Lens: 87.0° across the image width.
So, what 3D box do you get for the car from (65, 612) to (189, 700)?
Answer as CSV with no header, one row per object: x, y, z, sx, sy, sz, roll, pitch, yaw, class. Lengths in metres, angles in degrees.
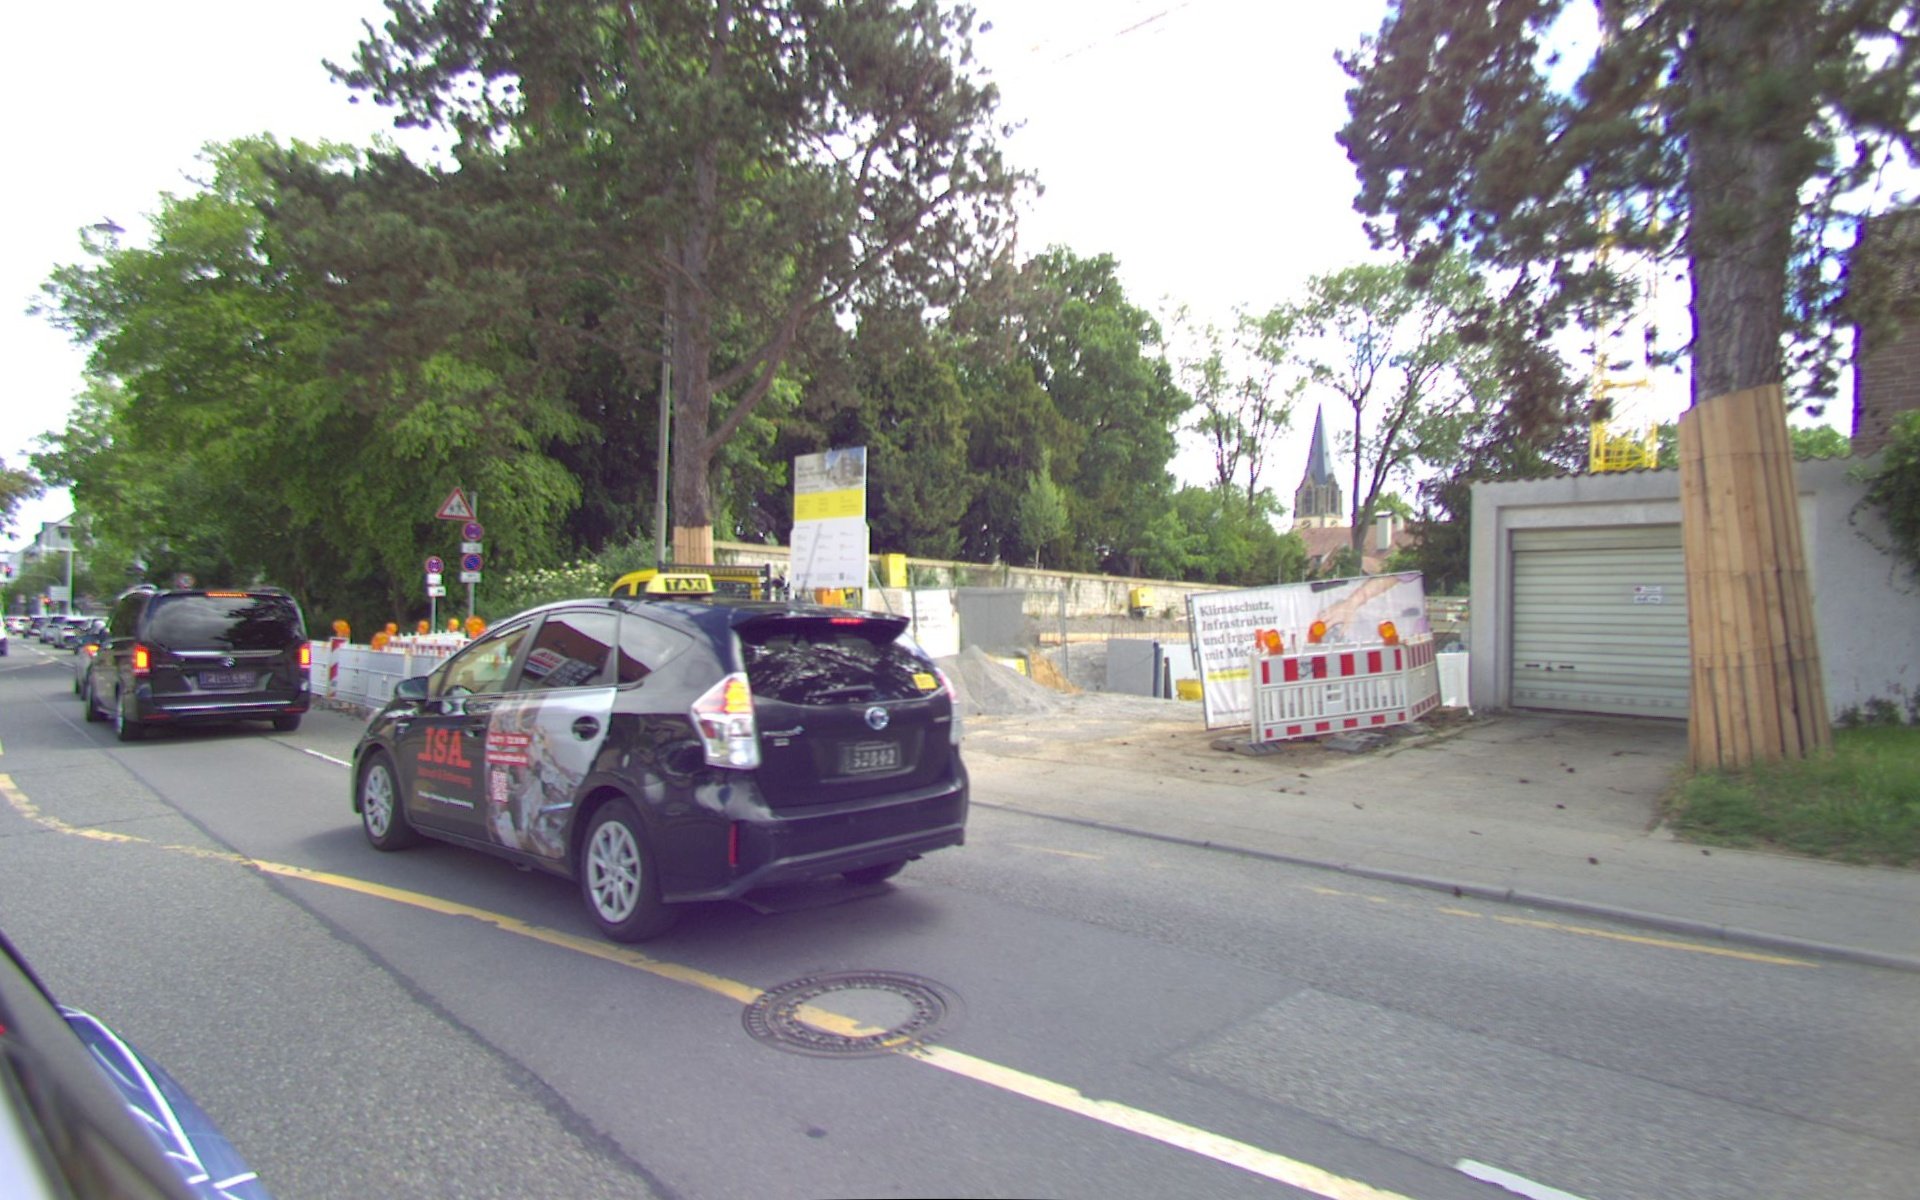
-16.216,1.067,19.651,1.595,1.535,3.573,2,-3,-43,car

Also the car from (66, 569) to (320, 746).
-10.496,0.717,13.697,4.913,1.967,1.888,-2,-3,43,car

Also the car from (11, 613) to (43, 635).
-75.476,1.940,81.888,4.164,1.603,1.596,0,-3,44,car

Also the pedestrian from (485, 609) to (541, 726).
-6.278,0.937,14.230,0.563,1.613,0.537,0,0,-1,pedestrian

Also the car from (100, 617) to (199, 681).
-21.449,1.220,26.916,1.795,1.535,4.571,1,-1,-36,car

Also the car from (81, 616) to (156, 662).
-32.131,1.469,38.619,3.971,1.603,1.737,0,-2,44,car

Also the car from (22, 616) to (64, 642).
-62.965,1.968,69.471,4.164,1.603,1.737,0,-3,44,car

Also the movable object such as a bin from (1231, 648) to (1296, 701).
11.292,2.743,37.664,1.654,1.796,1.972,0,0,42,movable object such as a bin

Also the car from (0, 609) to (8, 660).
-37.341,1.273,38.146,4.431,1.820,1.938,0,0,45,car

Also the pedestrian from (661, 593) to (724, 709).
-3.728,0.687,14.104,0.654,1.559,0.568,0,0,39,pedestrian

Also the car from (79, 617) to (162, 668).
-28.261,1.399,34.045,1.755,1.568,4.004,4,-3,-44,car

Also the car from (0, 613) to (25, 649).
-51.241,1.623,53.903,4.225,1.820,1.938,0,0,45,car

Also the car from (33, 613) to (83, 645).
-50.628,1.616,56.772,4.164,1.603,1.737,0,-3,44,car

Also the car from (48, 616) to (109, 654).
-41.280,1.620,47.368,4.005,1.603,1.737,0,-3,44,car

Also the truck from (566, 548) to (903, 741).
-3.746,0.558,15.769,2.279,2.438,6.098,0,0,-44,truck

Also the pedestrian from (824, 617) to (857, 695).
-2.182,1.010,18.429,0.566,1.396,0.539,0,0,-9,pedestrian

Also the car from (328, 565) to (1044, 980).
-1.878,0.695,5.963,4.525,1.539,1.846,-1,-2,41,car

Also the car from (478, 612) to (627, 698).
-8.066,1.001,19.880,1.604,1.519,3.588,0,-1,-41,car
